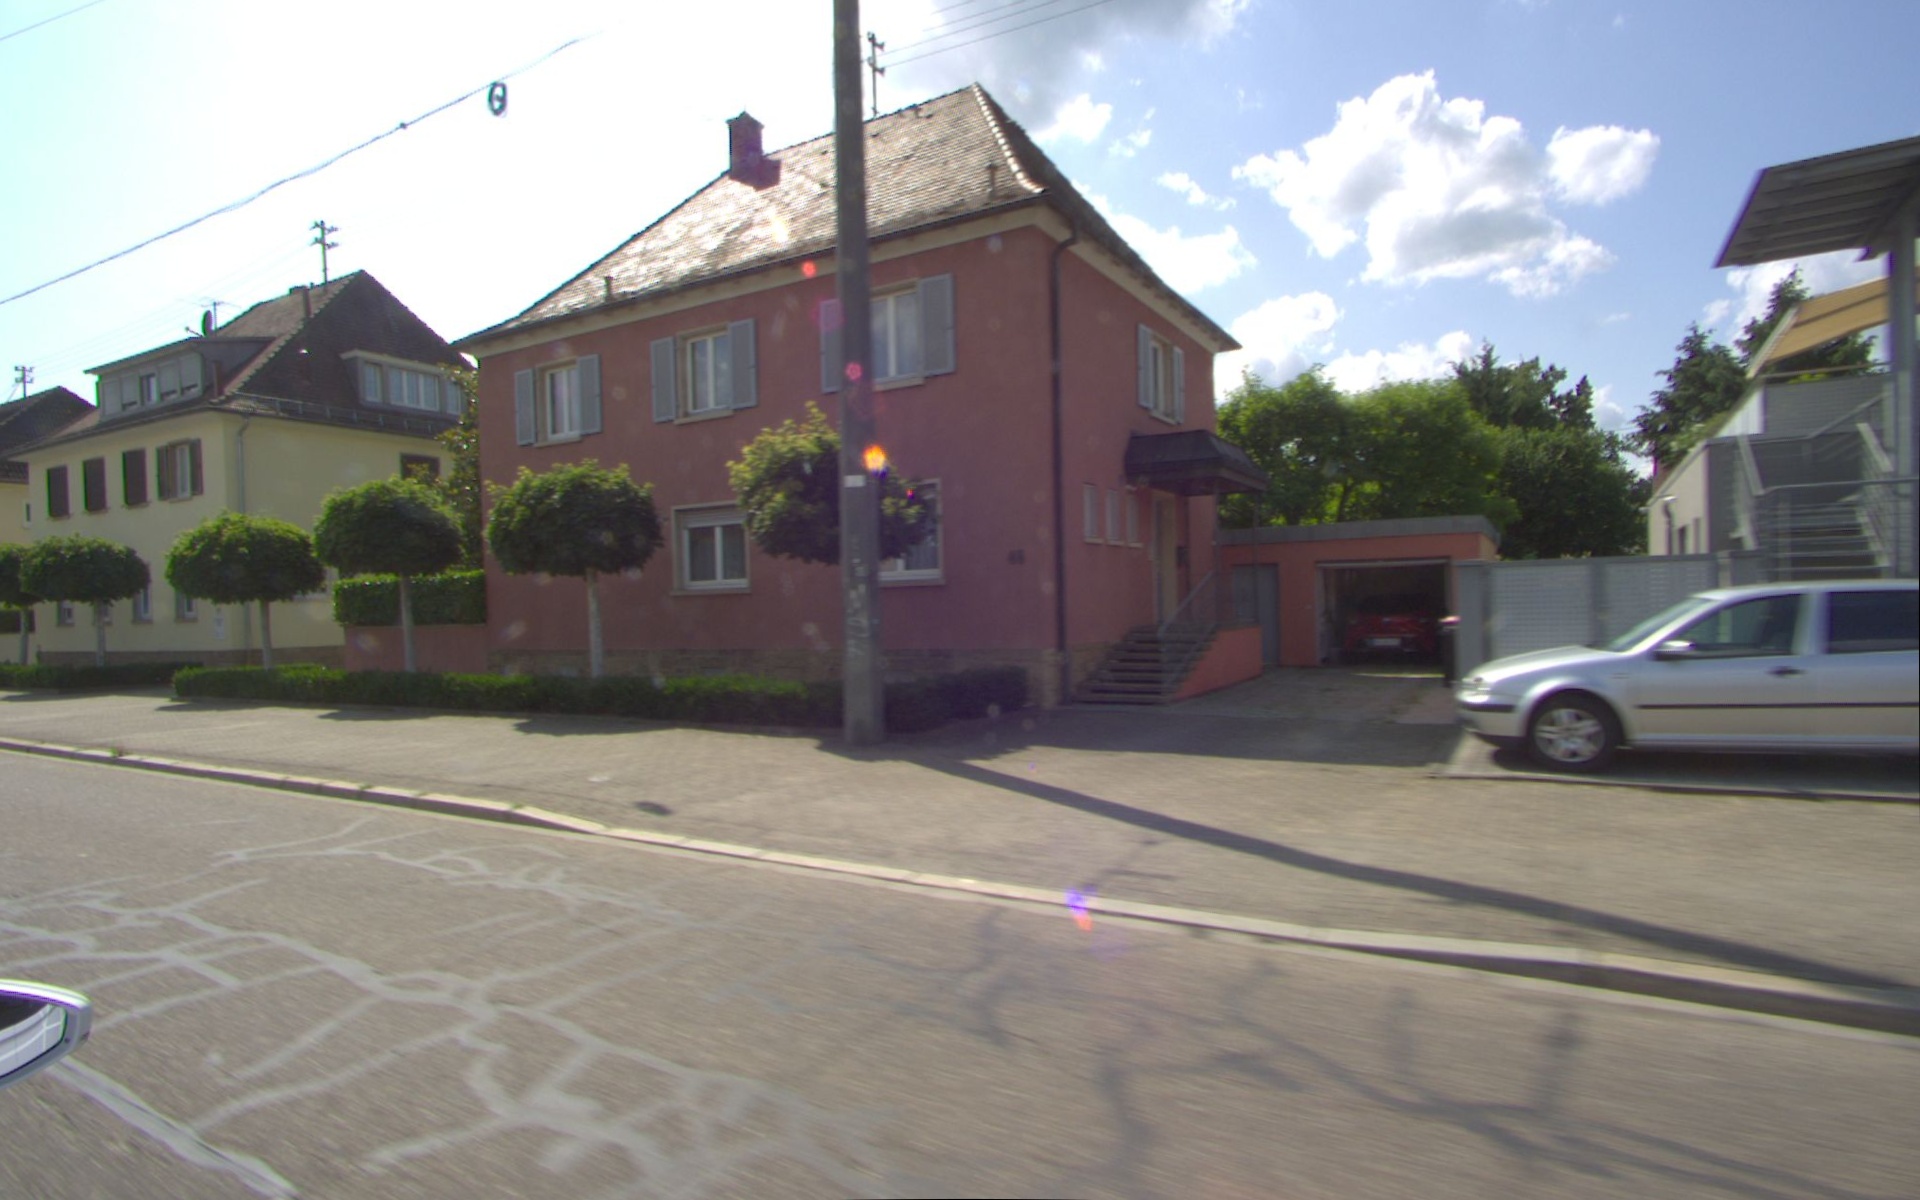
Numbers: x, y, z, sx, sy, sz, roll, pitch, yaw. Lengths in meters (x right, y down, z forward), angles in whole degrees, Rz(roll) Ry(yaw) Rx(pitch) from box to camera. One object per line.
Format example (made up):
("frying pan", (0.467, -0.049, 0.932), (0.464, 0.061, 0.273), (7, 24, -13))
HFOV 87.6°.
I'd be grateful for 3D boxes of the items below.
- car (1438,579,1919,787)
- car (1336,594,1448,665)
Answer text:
("car", (6.226, 0.582, 7.993), (4.283, 1.428, 1.647), (-1, 0, 28))
("car", (9.248, 0.575, 21.276), (1.777, 1.372, 3.536), (-1, 0, 30))
